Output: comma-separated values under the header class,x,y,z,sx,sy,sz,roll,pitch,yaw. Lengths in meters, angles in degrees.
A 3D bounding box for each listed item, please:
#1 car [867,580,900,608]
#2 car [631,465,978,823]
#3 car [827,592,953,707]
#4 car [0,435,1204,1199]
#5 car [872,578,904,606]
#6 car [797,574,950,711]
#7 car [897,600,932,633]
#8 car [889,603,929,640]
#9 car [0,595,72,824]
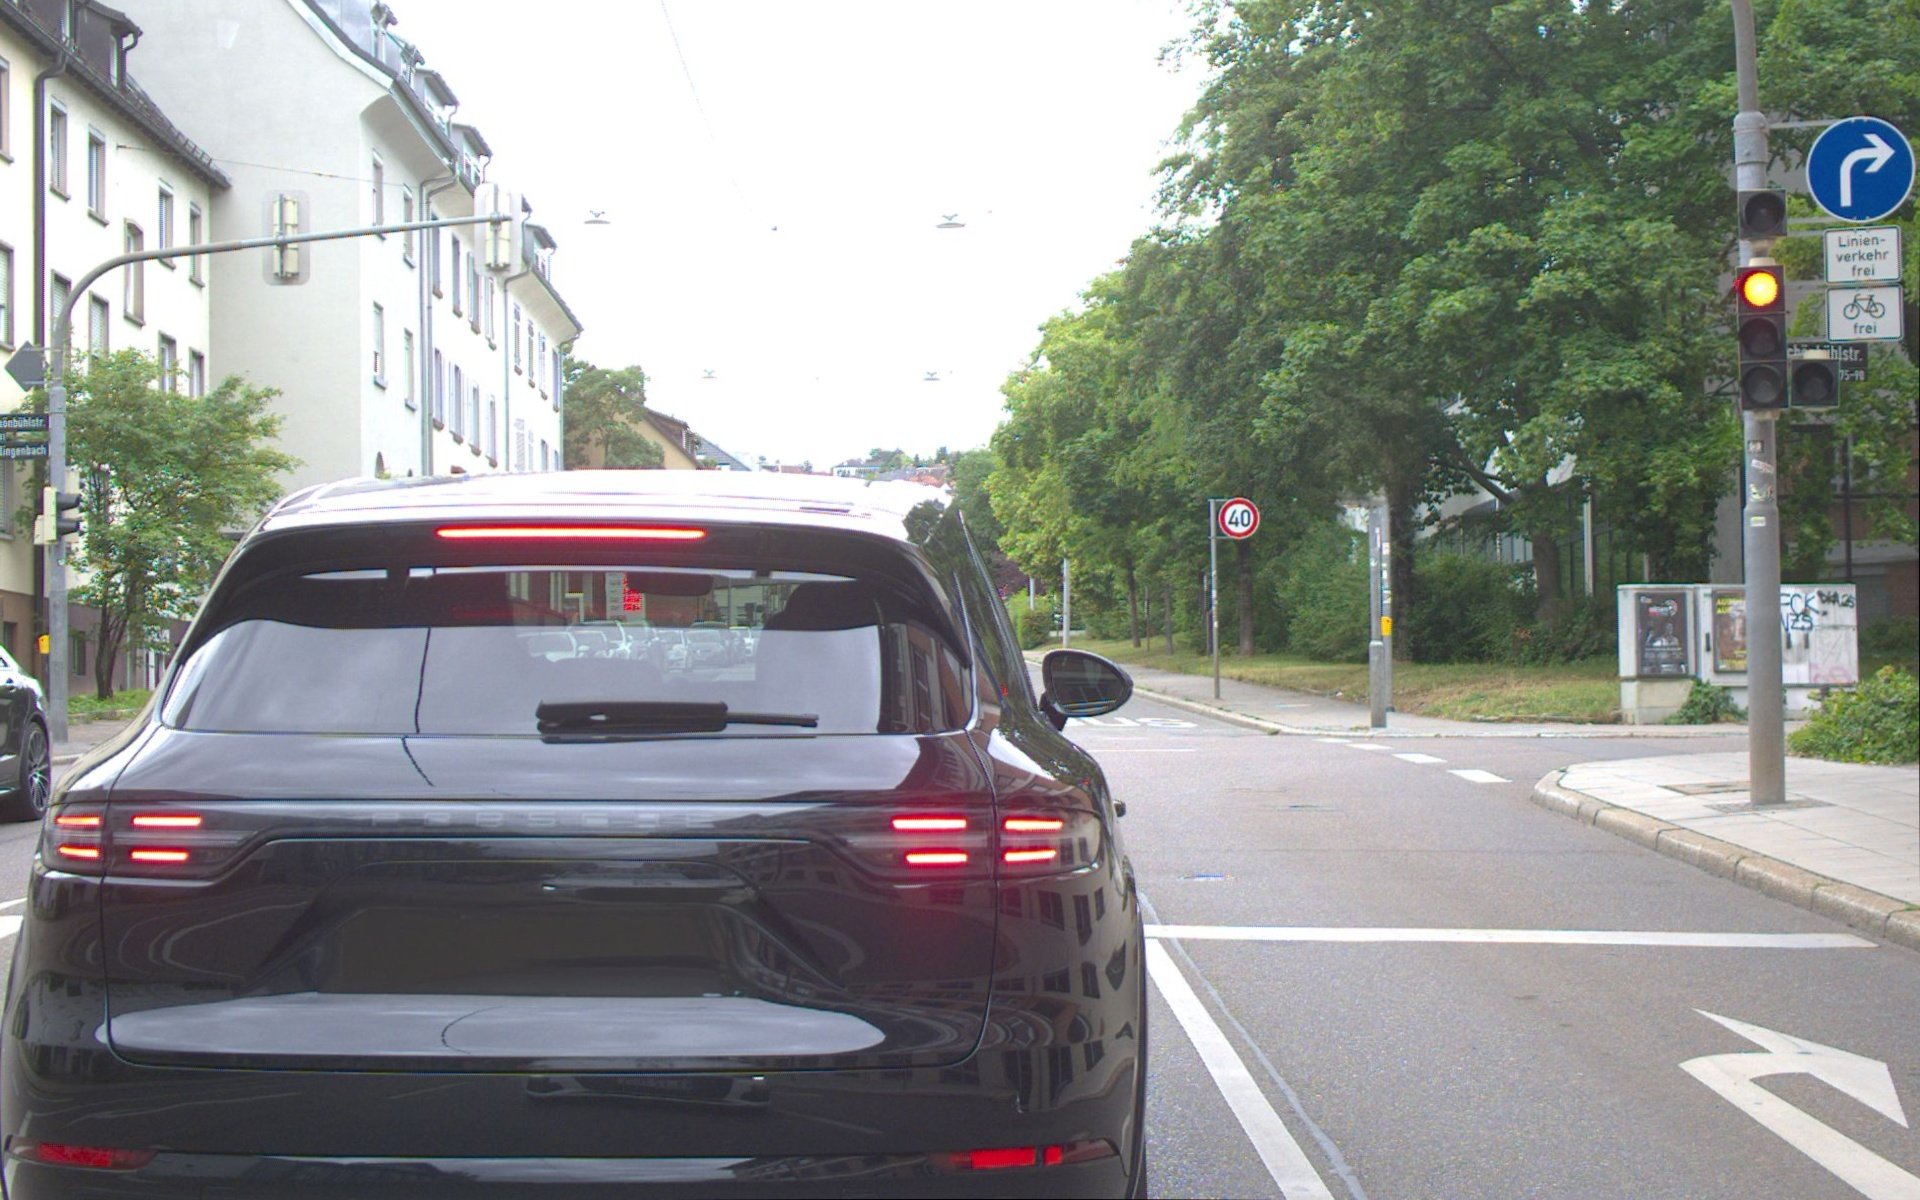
class,x,y,z,sx,sy,sz,roll,pitch,yaw
car,-4.493,-0.361,202.943,1.827,1.599,4.135,1,1,0
car,-0.910,0.217,21.896,1.965,2.035,4.135,1,1,0
car,-1.037,0.721,52.538,1.827,1.599,3.859,1,1,0
car,-0.689,0.562,7.225,2.048,1.660,4.267,1,1,0
car,-4.395,-0.513,210.269,1.827,1.599,4.135,1,1,0
car,-1.061,0.497,43.820,1.827,1.599,4.135,1,1,0
car,-2.394,0.876,182.483,1.827,1.599,4.135,1,1,0
car,-2.380,0.996,162.552,1.827,1.599,4.135,1,1,0
car,-6.859,0.719,20.710,1.785,1.414,4.670,-2,0,0
